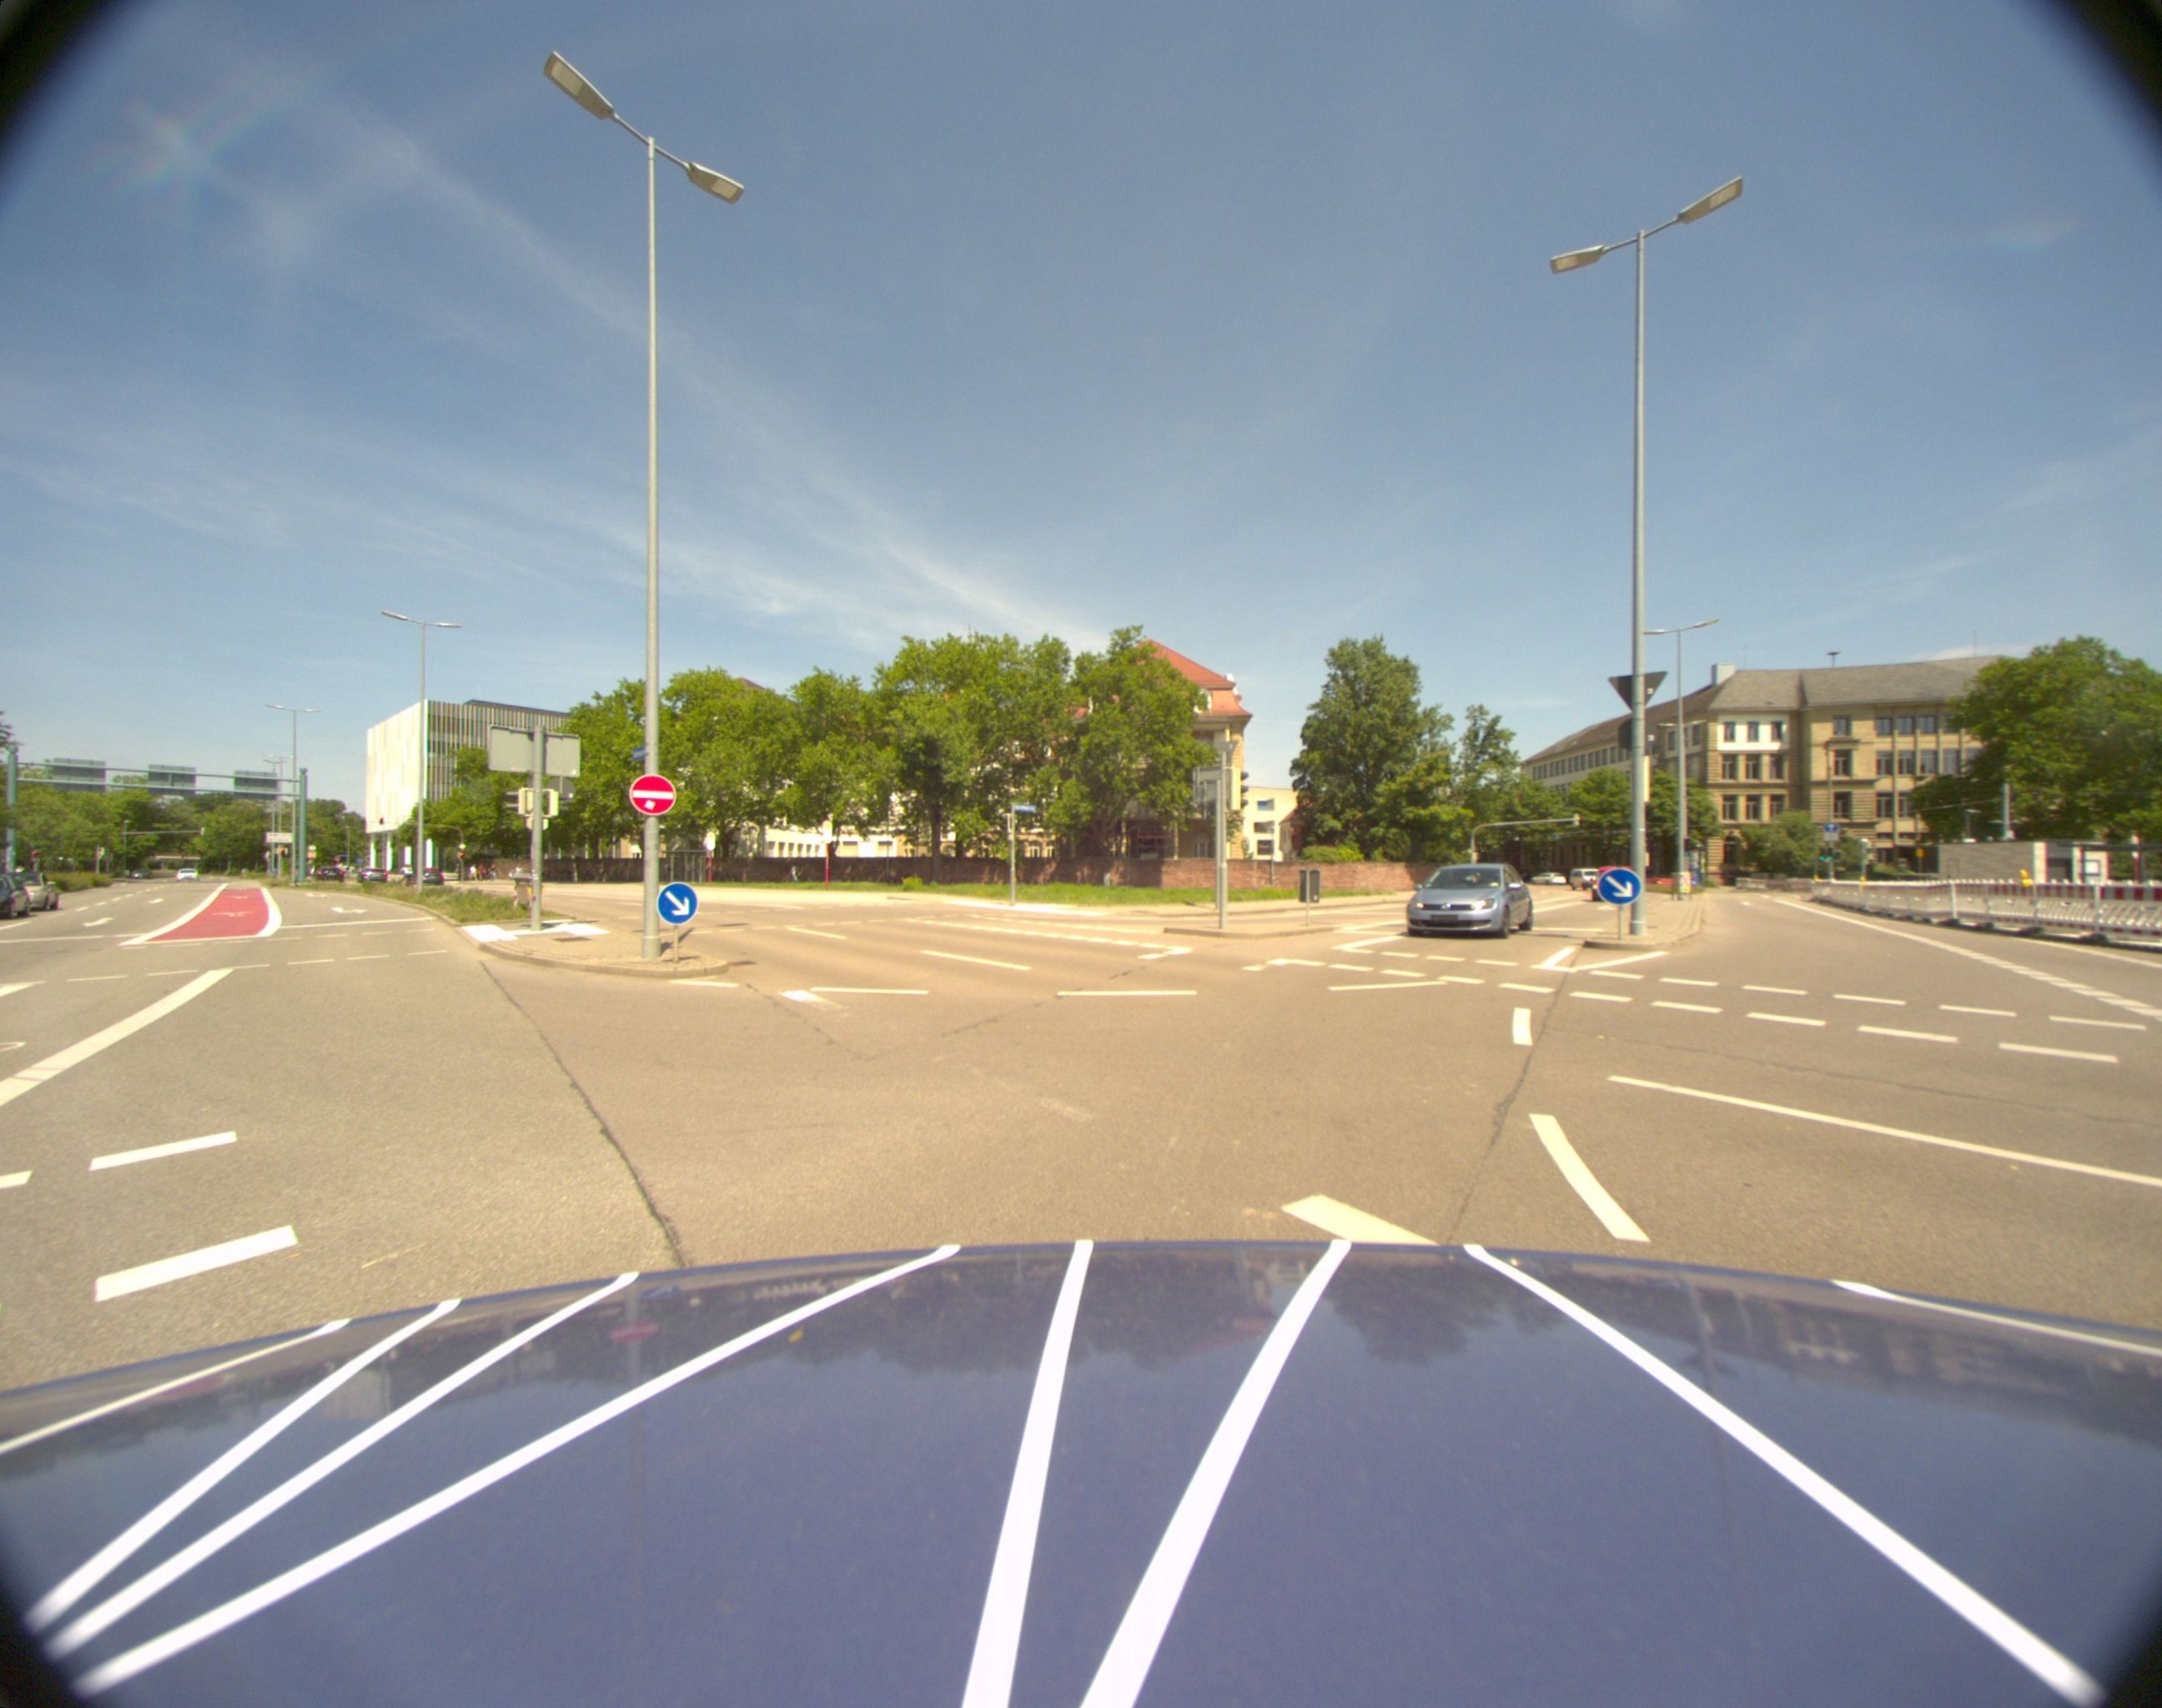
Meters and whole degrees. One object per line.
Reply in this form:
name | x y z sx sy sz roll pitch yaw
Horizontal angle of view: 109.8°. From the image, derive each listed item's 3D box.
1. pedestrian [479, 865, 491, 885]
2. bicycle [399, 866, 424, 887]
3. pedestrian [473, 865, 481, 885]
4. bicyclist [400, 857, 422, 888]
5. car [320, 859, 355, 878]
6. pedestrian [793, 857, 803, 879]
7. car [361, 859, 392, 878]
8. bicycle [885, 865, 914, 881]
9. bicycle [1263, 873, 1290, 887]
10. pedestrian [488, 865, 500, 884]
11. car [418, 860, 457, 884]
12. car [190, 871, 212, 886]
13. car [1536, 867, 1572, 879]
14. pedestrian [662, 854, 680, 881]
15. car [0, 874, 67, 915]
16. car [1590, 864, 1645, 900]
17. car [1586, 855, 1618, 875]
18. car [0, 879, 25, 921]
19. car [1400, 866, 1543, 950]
pedestrian | -60.861 2.112 77.614 0.961 2.001 0.791 -3 -2 40
bicycle | -41.408 1.388 47.001 2.186 1.229 0.522 -3 -2 32
pedestrian | -60.975 2.081 76.686 0.535 2.001 0.551 -3 -2 41
bicyclist | -41.486 1.160 47.044 1.136 1.875 0.710 -2 -2 31
car | -67.367 1.323 68.843 3.989 1.658 1.782 -3 -2 39
pedestrian | -22.703 1.109 60.937 0.525 1.710 0.590 -2 -2 15
car | -65.415 1.365 70.537 3.989 1.673 1.786 -3 -3 43
bicycle | -14.082 1.472 58.999 2.166 1.175 0.458 -2 -2 12
bicycle | 14.212 1.888 55.341 1.774 0.922 0.679 -1 -2 -6
pedestrian | -60.365 2.119 78.153 0.838 2.001 0.791 -3 -2 40
car | -57.145 1.575 67.491 4.203 2.001 2.004 -3 -2 41
car | -108.830 3.016 93.985 3.905 1.676 1.741 -3 -2 40
car | 57.162 2.280 91.908 1.819 1.420 4.429 2 0 6
pedestrian | -35.510 1.168 65.788 1.073 2.276 0.851 -2 -2 25
car | -40.122 1.548 28.871 3.989 1.430 1.764 -3 -2 39
car | 27.611 1.403 39.072 1.829 1.755 4.289 -3 -3 41
car | 47.963 0.999 69.889 1.927 1.784 5.043 0 0 40
car | -35.253 1.495 24.145 3.989 1.302 1.764 -3 -2 39
car | 7.957 0.969 15.312 1.828 1.406 4.003 0 0 38
